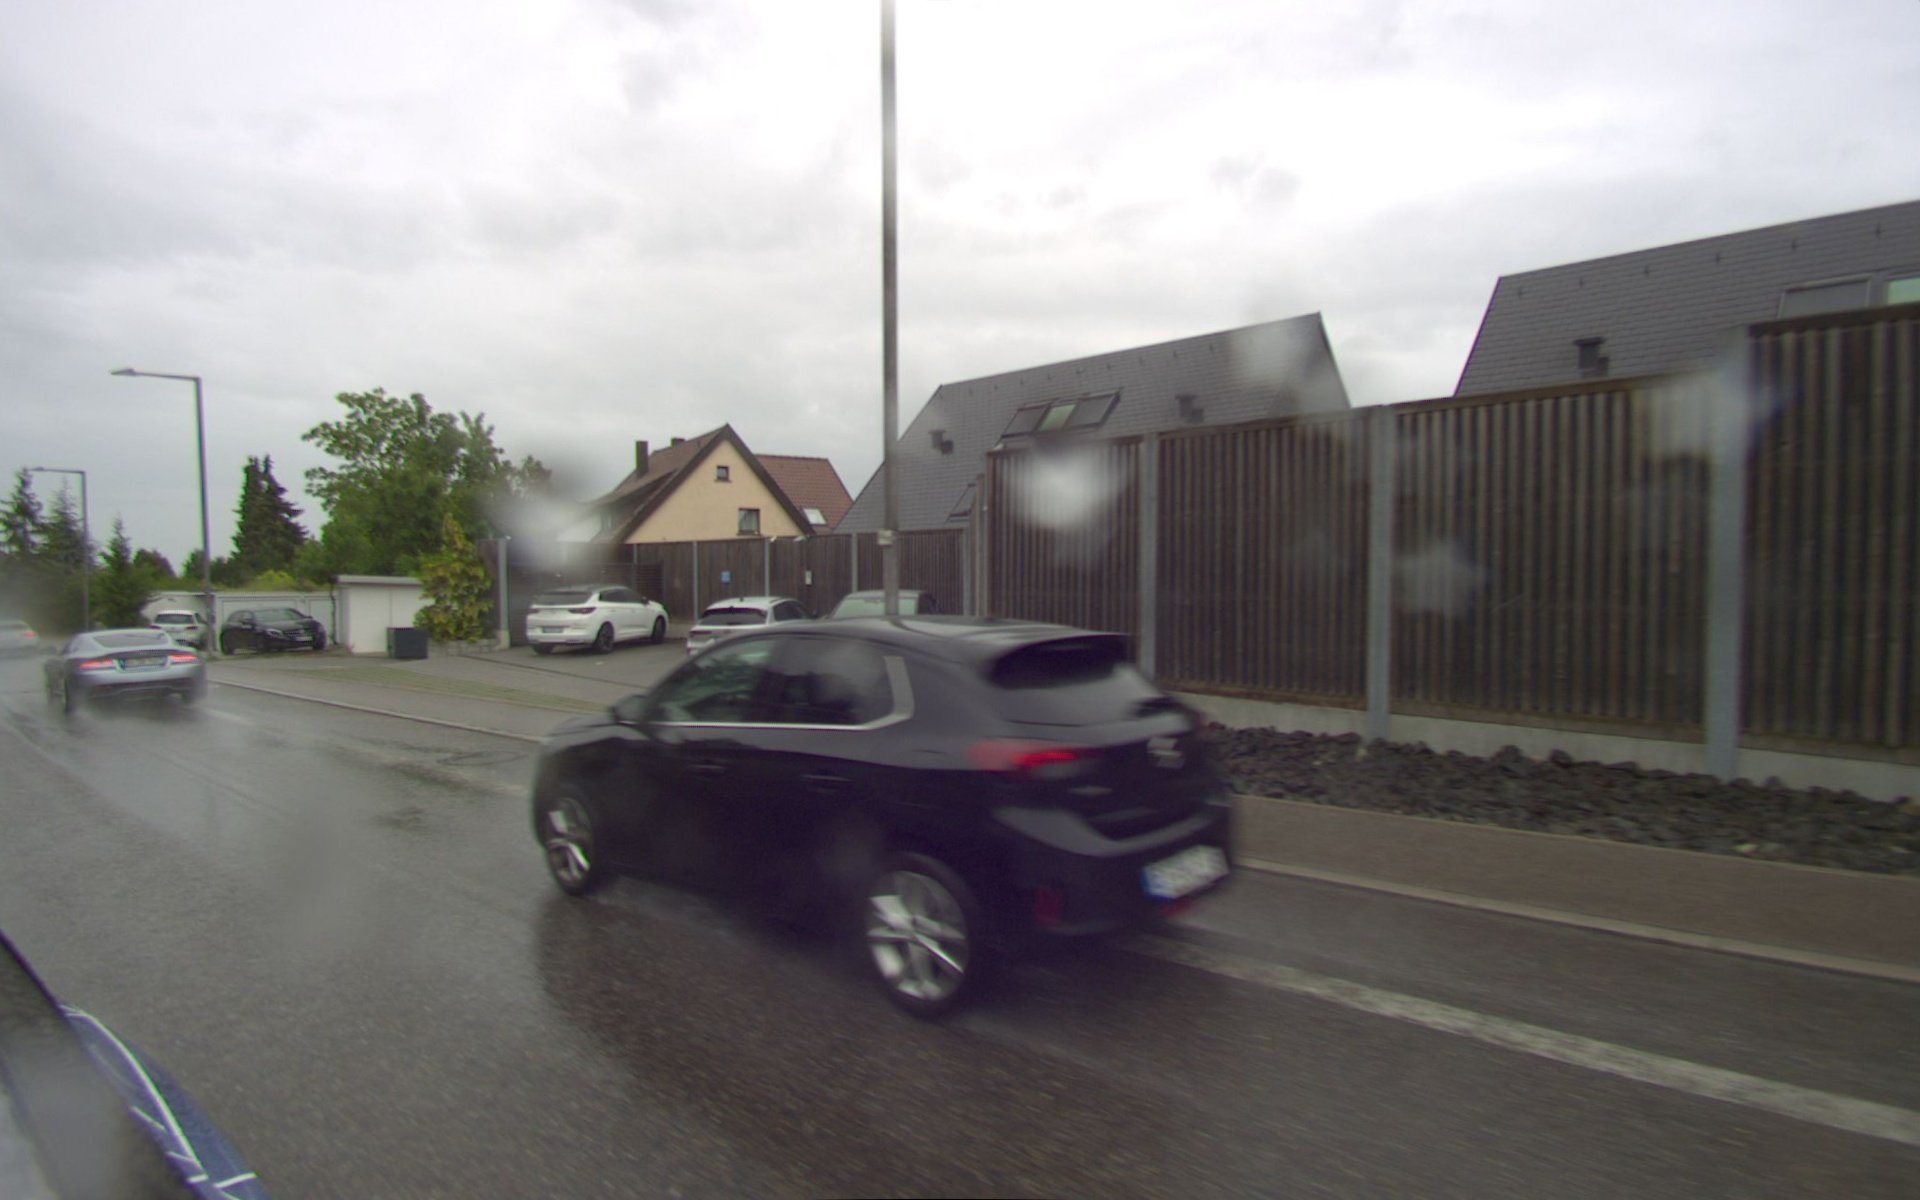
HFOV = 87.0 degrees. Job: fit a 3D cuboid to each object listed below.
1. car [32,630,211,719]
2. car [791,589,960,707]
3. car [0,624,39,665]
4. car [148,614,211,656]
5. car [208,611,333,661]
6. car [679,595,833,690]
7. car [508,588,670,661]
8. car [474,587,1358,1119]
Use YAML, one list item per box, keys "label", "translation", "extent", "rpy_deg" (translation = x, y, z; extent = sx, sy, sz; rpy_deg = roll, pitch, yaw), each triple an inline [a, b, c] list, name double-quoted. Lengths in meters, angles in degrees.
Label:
- label: "car"
  translation: [-14.665, 1.200, 17.620]
  extent: [4.209, 1.293, 1.861]
  rpy_deg: [-2, 0, 43]
- label: "car"
  translation: [-1.242, 0.687, 16.780]
  extent: [1.817, 1.612, 4.283]
  rpy_deg: [-2, 1, 9]
- label: "car"
  translation: [-36.828, 1.696, 38.794]
  extent: [4.267, 1.471, 1.827]
  rpy_deg: [-1, 1, 42]
- label: "car"
  translation: [-32.629, 1.404, 42.408]
  extent: [1.682, 1.565, 4.401]
  rpy_deg: [-3, 1, -33]
- label: "car"
  translation: [-21.969, 1.152, 32.199]
  extent: [4.249, 1.416, 1.819]
  rpy_deg: [-2, 1, 34]
- label: "car"
  translation: [-3.759, 0.715, 19.502]
  extent: [1.738, 1.453, 4.529]
  rpy_deg: [-2, 2, 4]
- label: "car"
  translation: [-9.045, 0.540, 25.070]
  extent: [1.922, 1.586, 4.044]
  rpy_deg: [-2, 1, 11]
- label: "car"
  translation: [-0.537, 0.736, 4.932]
  extent: [4.208, 1.460, 1.861]
  rpy_deg: [-2, 0, 42]
